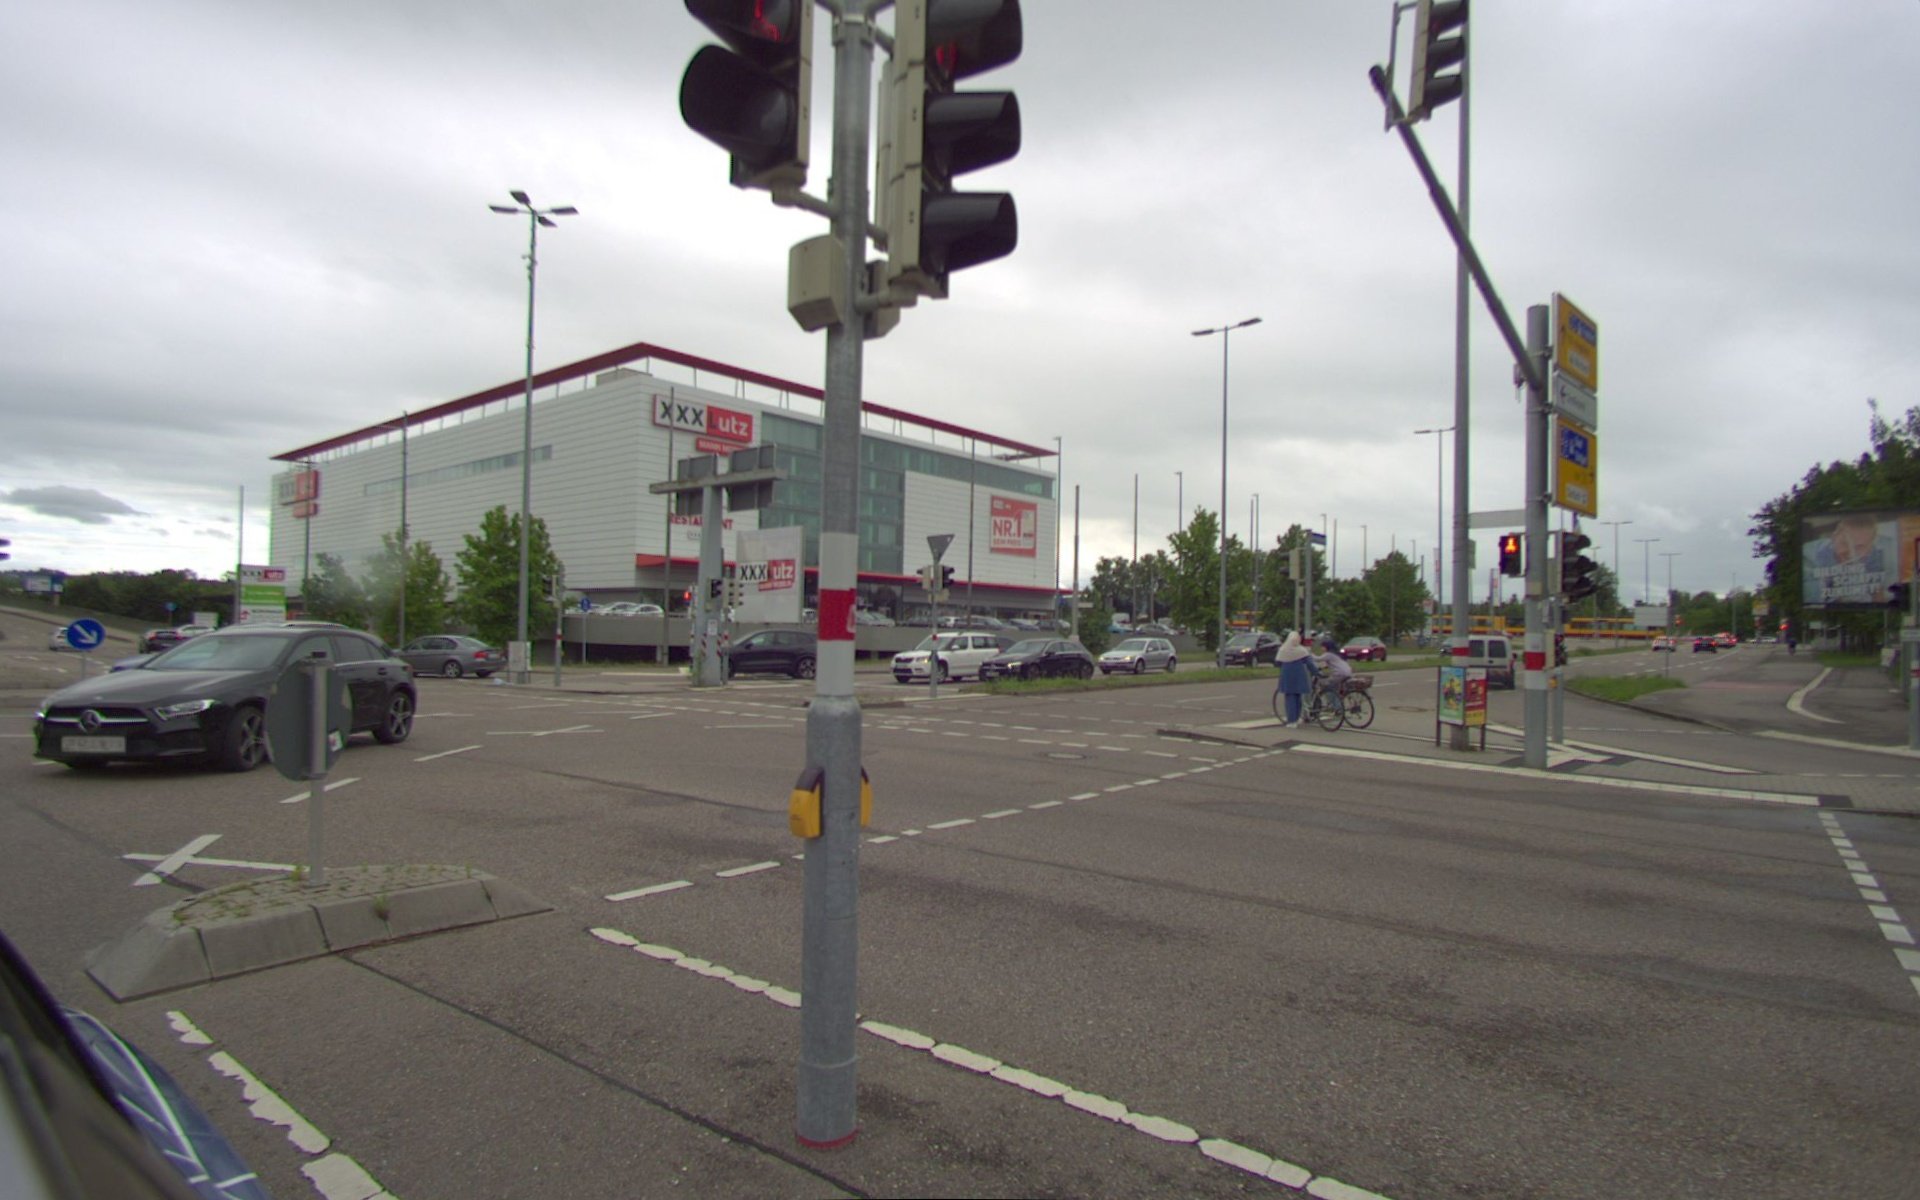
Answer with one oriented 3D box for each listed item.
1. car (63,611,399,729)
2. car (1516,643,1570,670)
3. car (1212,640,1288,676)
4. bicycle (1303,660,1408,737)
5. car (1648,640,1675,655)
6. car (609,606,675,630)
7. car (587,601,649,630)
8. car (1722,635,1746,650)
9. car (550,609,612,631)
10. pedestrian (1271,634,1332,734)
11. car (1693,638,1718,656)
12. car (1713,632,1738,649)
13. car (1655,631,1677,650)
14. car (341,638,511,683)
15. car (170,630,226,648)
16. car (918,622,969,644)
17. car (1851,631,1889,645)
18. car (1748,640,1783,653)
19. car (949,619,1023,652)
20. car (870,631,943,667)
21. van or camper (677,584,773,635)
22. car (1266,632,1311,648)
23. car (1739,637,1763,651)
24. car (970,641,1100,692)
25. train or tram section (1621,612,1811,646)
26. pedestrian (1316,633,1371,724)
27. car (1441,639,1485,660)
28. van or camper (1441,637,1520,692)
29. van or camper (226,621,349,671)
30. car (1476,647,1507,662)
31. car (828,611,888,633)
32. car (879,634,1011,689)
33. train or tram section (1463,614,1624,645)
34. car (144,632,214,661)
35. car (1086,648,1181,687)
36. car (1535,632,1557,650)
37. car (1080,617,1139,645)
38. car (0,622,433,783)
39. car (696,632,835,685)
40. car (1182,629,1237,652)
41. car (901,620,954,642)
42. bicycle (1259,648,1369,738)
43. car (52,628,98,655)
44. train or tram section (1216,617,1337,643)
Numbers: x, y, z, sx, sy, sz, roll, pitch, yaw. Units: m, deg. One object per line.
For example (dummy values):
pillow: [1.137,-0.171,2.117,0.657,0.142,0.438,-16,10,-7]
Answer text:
car: [-11.441,1.074,16.332,1.829,1.634,4.316,-2,-2,11]
car: [31.811,3.100,55.206,1.727,1.382,3.943,0,-3,43]
car: [13.784,2.723,47.957,1.802,1.586,4.160,-3,-3,42]
bicycle: [6.989,1.714,17.987,0.499,1.174,1.954,0,0,-23]
car: [70.564,4.738,101.798,1.787,1.463,3.878,0,-1,42]
car: [-22.761,1.313,72.496,1.776,1.688,4.200,-3,-3,42]
car: [-25.349,1.189,75.099,2.000,2.029,3.943,-3,-3,43]
car: [97.167,5.326,127.042,1.849,1.901,3.867,-3,-4,44]
car: [-29.558,1.576,78.945,1.776,1.688,4.200,-3,-3,42]
pedestrian: [5.815,1.415,17.254,0.630,1.639,0.694,3,-1,-25]
car: [74.662,4.674,101.336,1.847,1.668,4.303,2,0,39]
car: [93.158,4.916,123.142,1.849,1.901,3.867,0,-2,45]
car: [88.614,5.083,126.965,1.998,2.236,3.947,-1,-3,39]
car: [-17.757,2.007,33.766,4.816,1.422,1.815,0,-4,5]
car: [-72.866,3.731,96.807,4.134,1.622,1.724,2,-4,-44]
car: [-1.413,2.798,85.420,3.996,1.752,1.973,-3,-3,40]
car: [135.924,5.659,151.208,3.997,2.029,1.973,-3,-3,40]
car: [119.023,6.841,149.526,3.923,1.900,1.823,-2,0,41]
car: [1.660,2.286,65.115,4.528,2.029,1.973,-3,-3,40]
car: [-3.120,2.846,58.801,3.998,2.029,1.973,-3,-3,41]
van or camper: [-15.888,0.732,68.132,7.235,3.159,2.677,-3,-3,42]
car: [33.364,4.049,102.818,3.999,1.577,1.771,-3,-3,42]
car: [102.973,5.780,131.765,3.866,1.732,1.850,1,-3,-44]
car: [2.358,1.988,30.924,1.768,1.389,4.199,-3,-3,42]
train or tram section: [116.279,4.541,156.577,23.261,4.875,3.585,-2,-2,39]
pedestrian: [6.882,1.388,18.186,0.642,1.560,0.652,0,0,-23]
car: [36.334,3.559,73.038,1.802,1.426,4.160,-3,-3,42]
van or camper: [17.832,2.149,34.564,1.993,1.735,4.347,-3,-3,32]
van or camper: [-29.197,2.003,43.915,4.915,2.029,2.146,0,-4,25]
car: [53.294,5.463,101.440,1.802,1.426,4.160,-3,-3,42]
car: [-7.144,1.555,70.589,3.989,1.448,1.845,-3,-3,39]
car: [-0.421,1.944,32.745,1.800,1.637,4.312,-3,-3,43]
train or tram section: [98.280,5.052,171.304,23.261,4.875,3.585,-2,-2,39]
car: [-45.892,2.762,59.585,1.873,1.460,4.192,-6,-1,-18]
car: [7.026,2.666,40.669,1.802,1.426,4.160,-3,-3,42]
car: [77.508,5.440,133.895,1.998,2.260,3.947,-1,-3,39]
car: [11.295,2.341,76.578,3.997,2.029,1.973,-3,-3,40]
car: [-7.921,1.047,11.247,1.835,1.445,4.193,0,-3,2]
car: [-6.571,1.995,34.220,4.298,1.637,1.806,3,-4,-23]
car: [22.375,3.641,90.812,4.323,2.029,1.973,-3,-3,40]
car: [-2.673,2.560,83.043,3.996,1.752,1.973,-3,-3,40]
bicycle: [6.077,1.566,17.496,0.587,1.407,1.940,3,-2,-24]
car: [-53.466,2.537,61.186,1.806,1.421,4.205,6,-7,-39]
train or tram section: [62.360,6.016,200.682,23.261,4.875,3.585,-2,-2,39]
